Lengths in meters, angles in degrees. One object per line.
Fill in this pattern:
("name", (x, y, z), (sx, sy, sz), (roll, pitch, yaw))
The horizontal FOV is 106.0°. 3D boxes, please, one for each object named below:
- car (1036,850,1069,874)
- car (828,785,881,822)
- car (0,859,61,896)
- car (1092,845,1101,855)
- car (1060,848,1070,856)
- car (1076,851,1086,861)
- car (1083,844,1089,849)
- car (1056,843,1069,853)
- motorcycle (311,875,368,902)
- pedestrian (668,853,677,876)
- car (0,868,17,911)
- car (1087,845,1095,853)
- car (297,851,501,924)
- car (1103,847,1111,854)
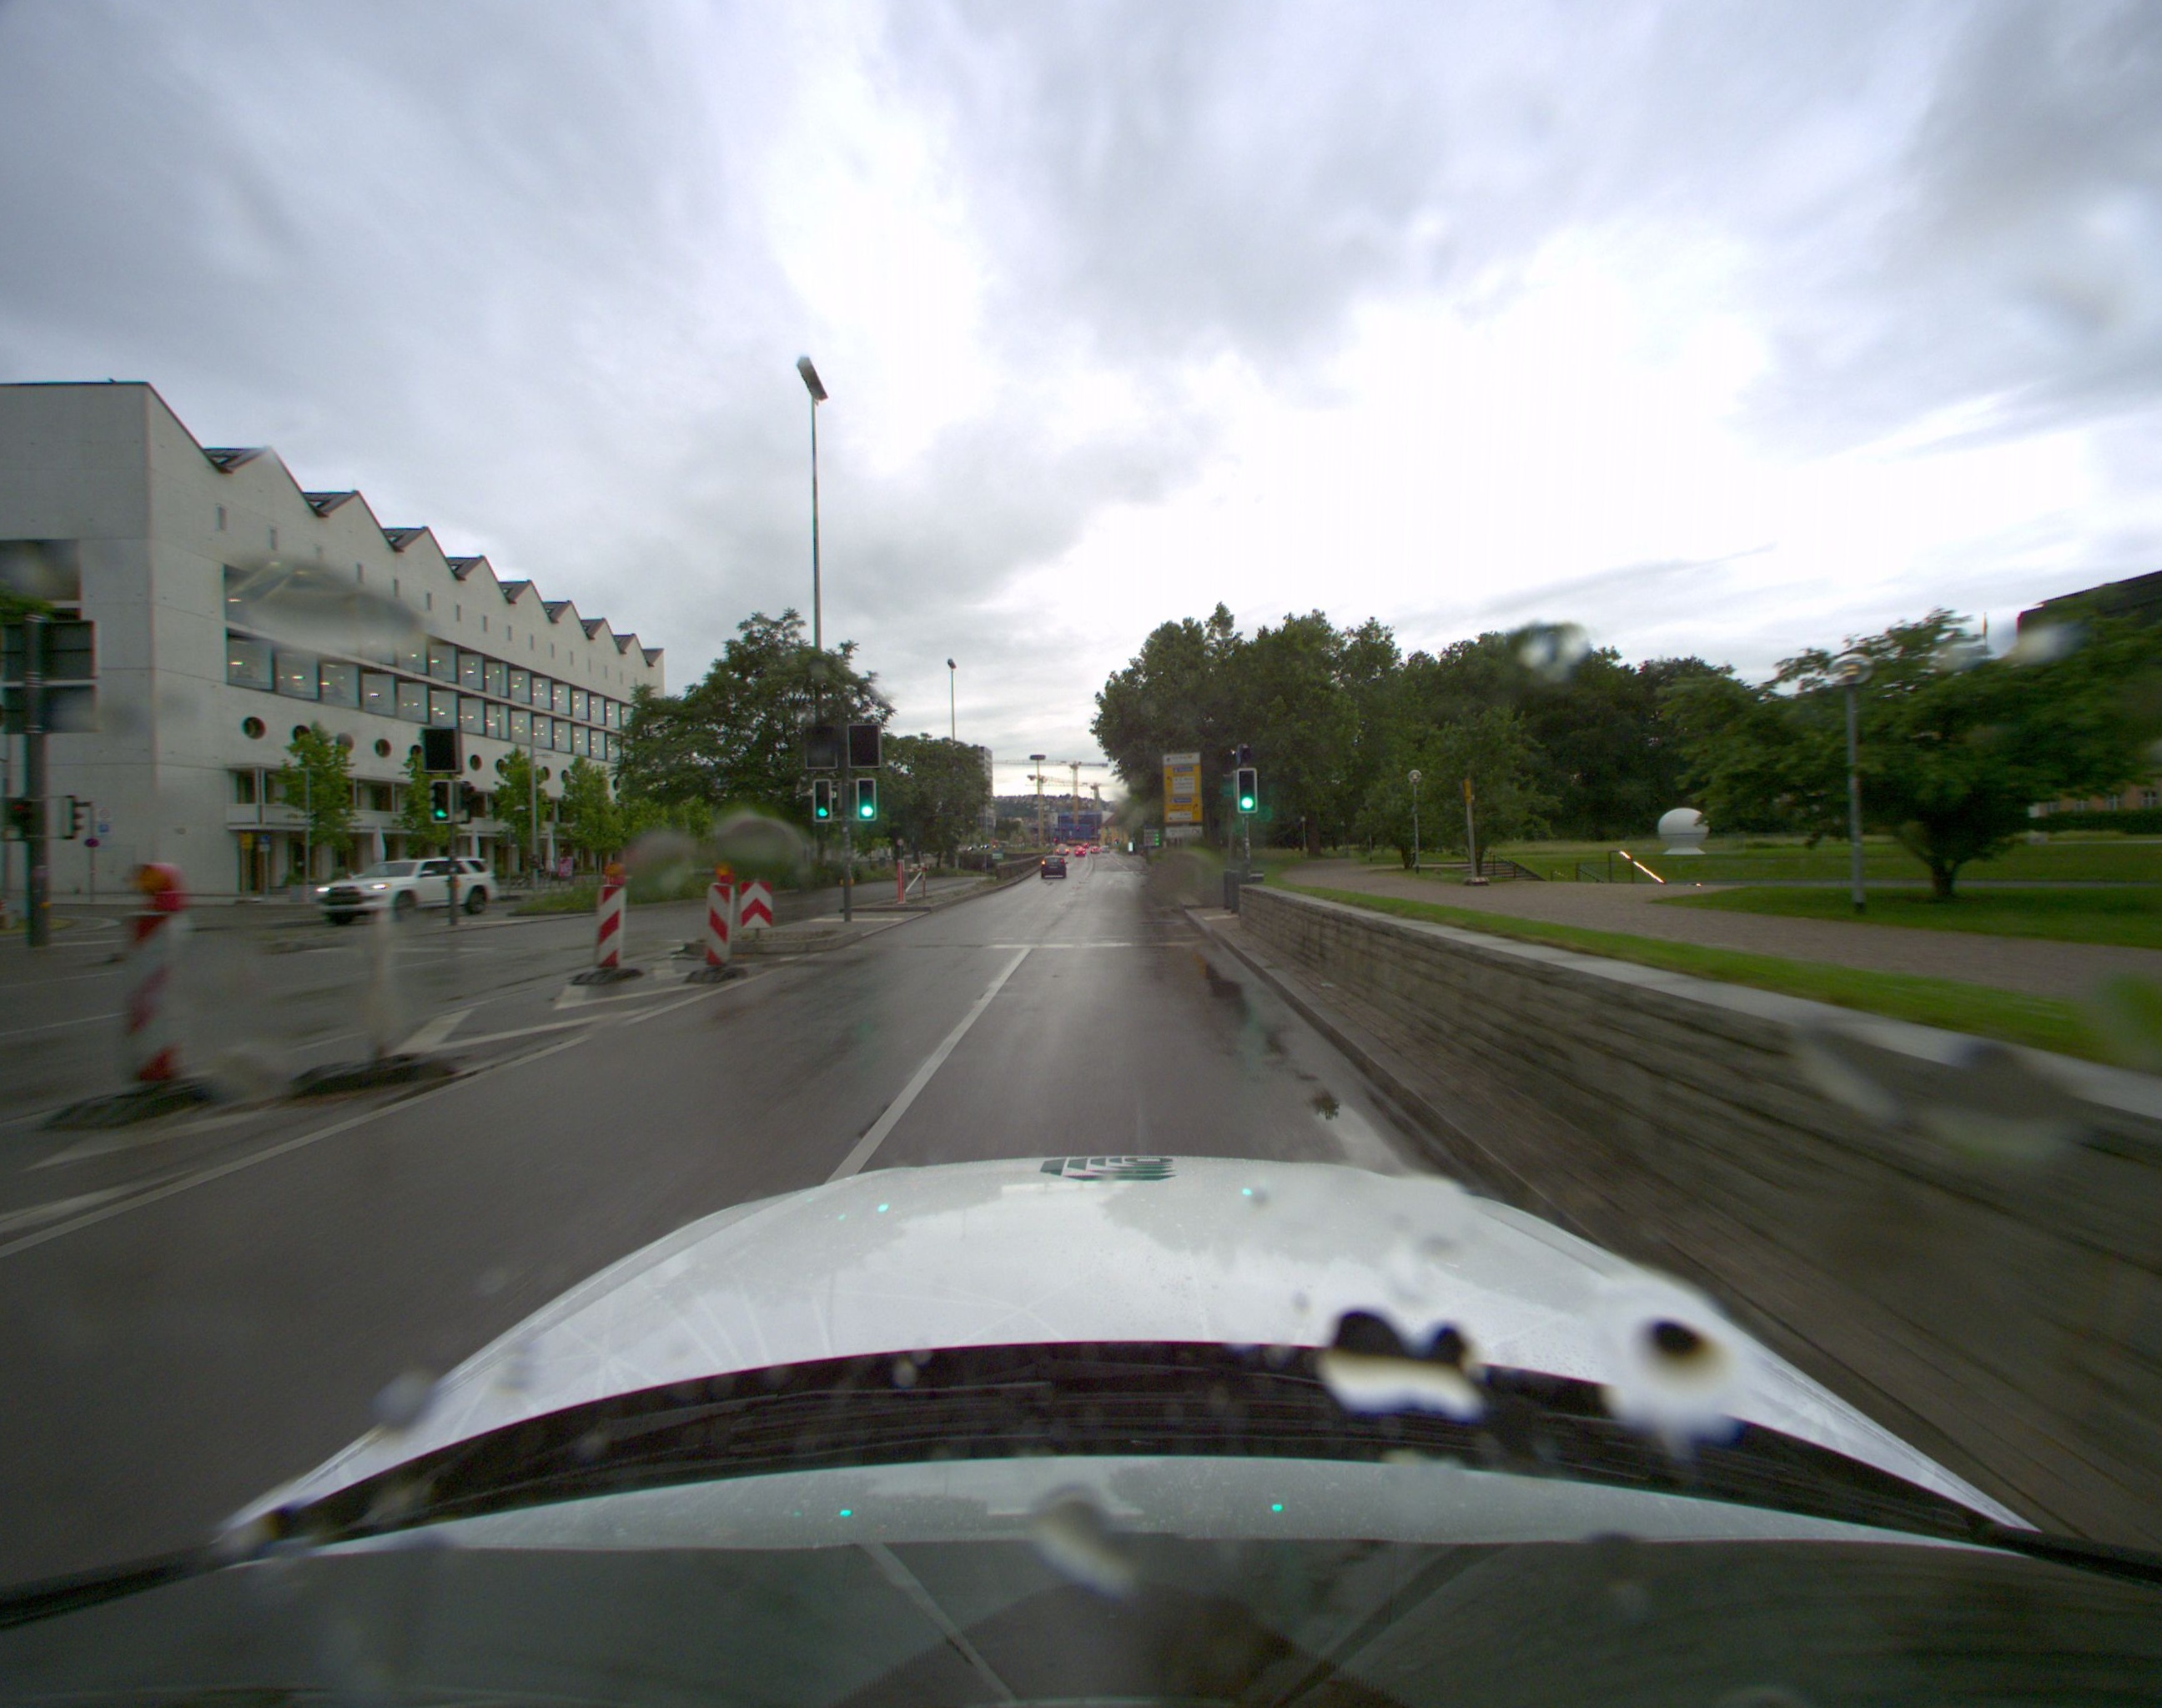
("car", (-1.889, 0.539, 53.836), (1.842, 1.416, 3.830), (-3, -1, -6))
("car", (-11.987, -2.643, 43.286), (1.990, 1.632, 3.993), (-1, 0, -5))
("car", (-48.471, 1.070, 36.000), (3.978, 1.596, 1.998), (-1, 0, -3))
("car", (3.536, -0.917, 187.278), (1.981, 2.014, 4.000), (-3, -1, 1))
("car", (-3.638, -0.415, 186.178), (1.986, 1.782, 4.002), (-3, -1, 2))
("car", (-0.019, 0.336, 158.244), (1.732, 1.771, 4.002), (-3, -1, 2))
("car", (1.686, -2.451, 254.096), (1.714, 1.557, 3.586), (-1, 0, 2))
("car", (-3.807, -1.194, 168.619), (2.211, 2.014, 4.002), (-3, -1, 2))
("motorcycle", (-34.278, 1.575, 37.675), (1.844, 1.154, 0.423), (-2, 0, -28))
("pedestrian", (-35.671, 0.909, 71.077), (0.543, 2.014, 0.525), (-2, -1, -36))
("car", (-52.386, 1.764, 37.622), (3.969, 2.014, 2.002), (-3, -1, 4))
("car", (2.473, -1.202, 192.756), (1.706, 1.690, 3.851), (-3, -1, 2))
("car", (-19.935, 0.938, 24.164), (1.989, 1.840, 4.888), (-3, -1, -2))
("car", (6.404, -0.840, 199.118), (1.986, 1.599, 4.002), (-3, -1, 2))
